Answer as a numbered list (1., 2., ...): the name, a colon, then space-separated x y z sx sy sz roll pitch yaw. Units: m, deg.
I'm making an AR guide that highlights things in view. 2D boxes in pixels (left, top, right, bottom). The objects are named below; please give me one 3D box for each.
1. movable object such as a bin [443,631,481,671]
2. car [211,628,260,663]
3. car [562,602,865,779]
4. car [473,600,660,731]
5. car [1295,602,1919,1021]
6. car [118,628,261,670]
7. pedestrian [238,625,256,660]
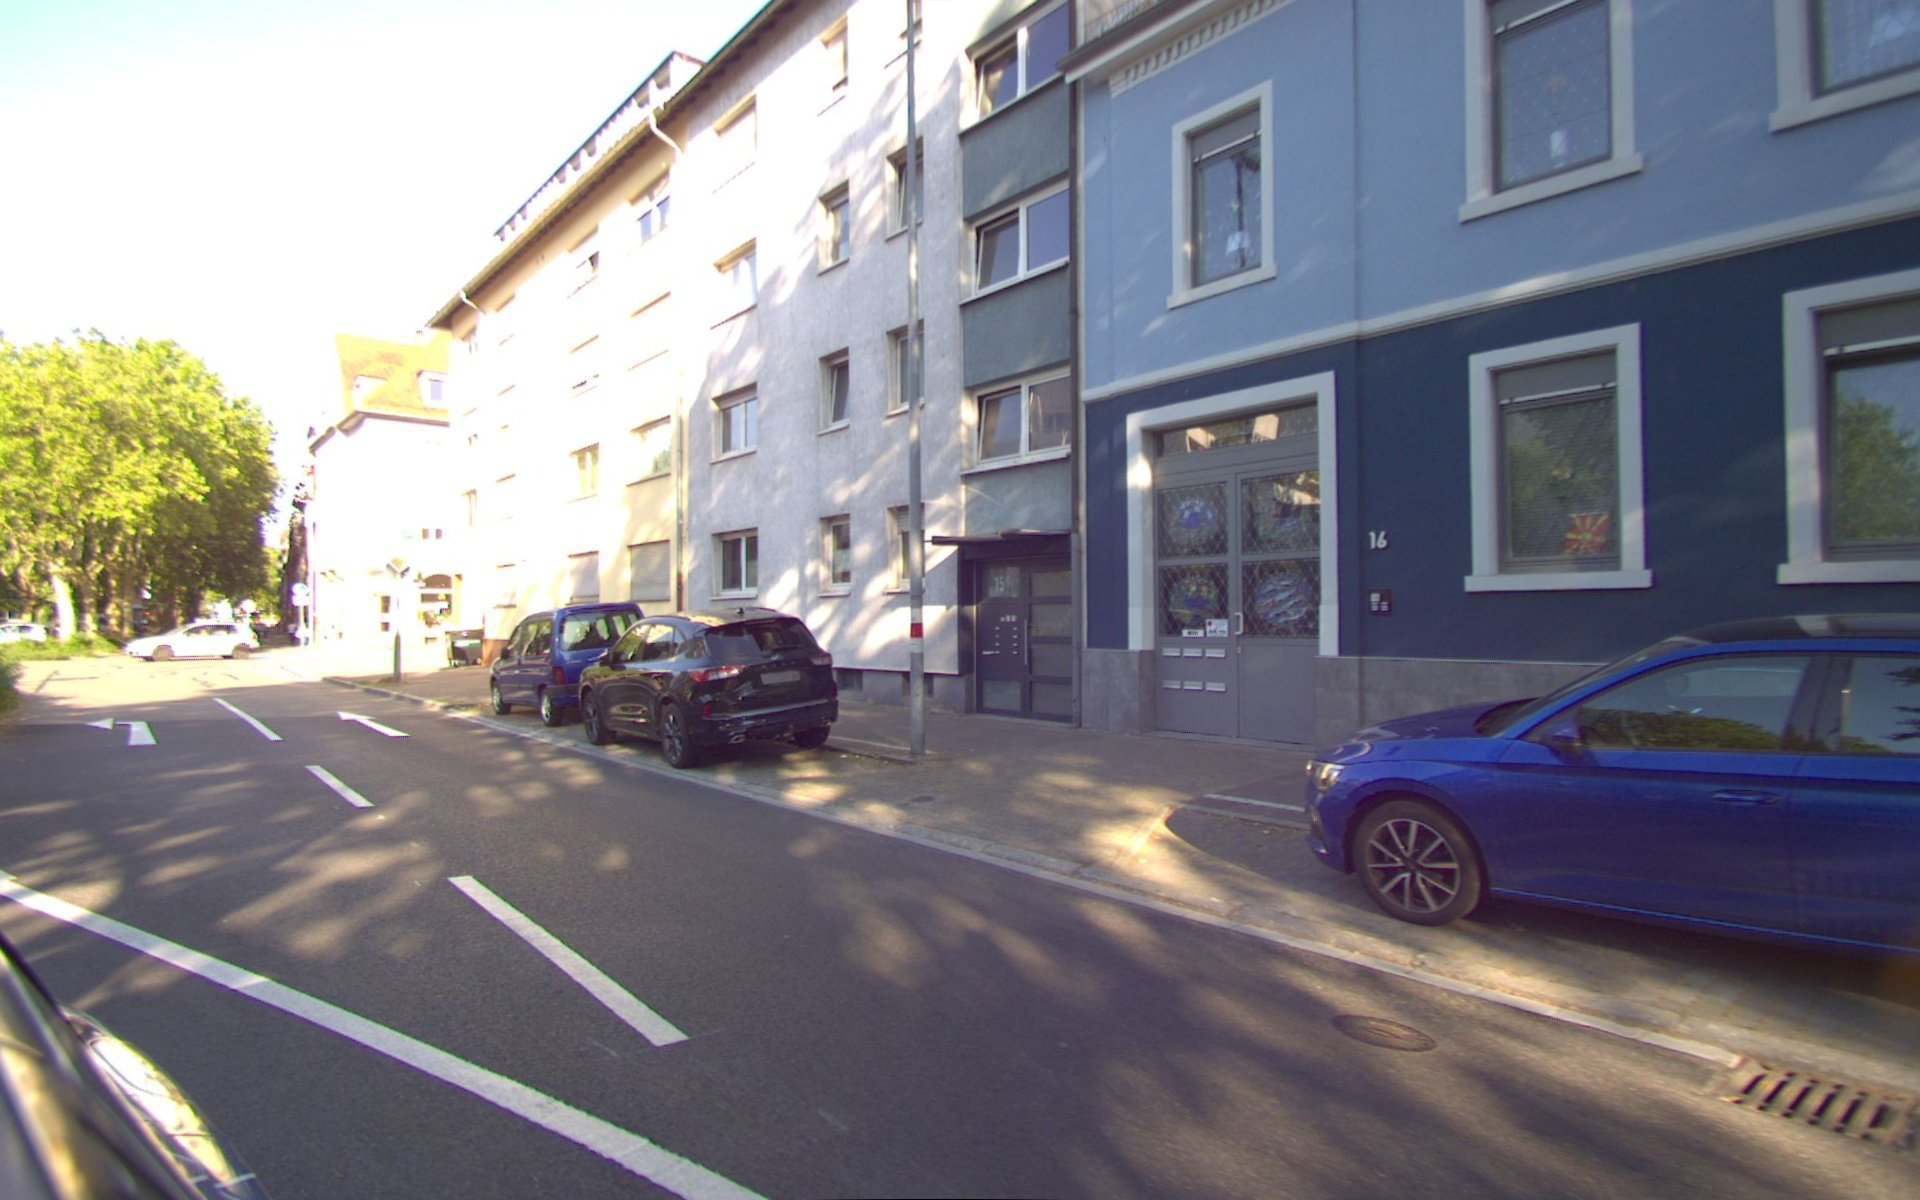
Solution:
1. movable object such as a bin: -16.226 1.647 32.975 1.017 1.296 1.065 1 -2 -30
2. car: -39.087 2.411 54.588 1.869 1.806 4.007 1 -2 -39
3. car: -3.163 0.933 12.227 1.881 1.685 4.502 -1 0 -37
4. car: -6.521 0.976 16.522 1.643 1.832 4.012 -1 0 -39
5. car: 3.876 0.780 4.480 1.630 1.498 4.267 -1 0 -42
6. car: -30.128 1.872 39.667 1.799 1.523 4.150 -2 -2 39
7. pedestrian: -35.423 2.117 50.287 0.662 1.725 0.715 1 -2 -31
